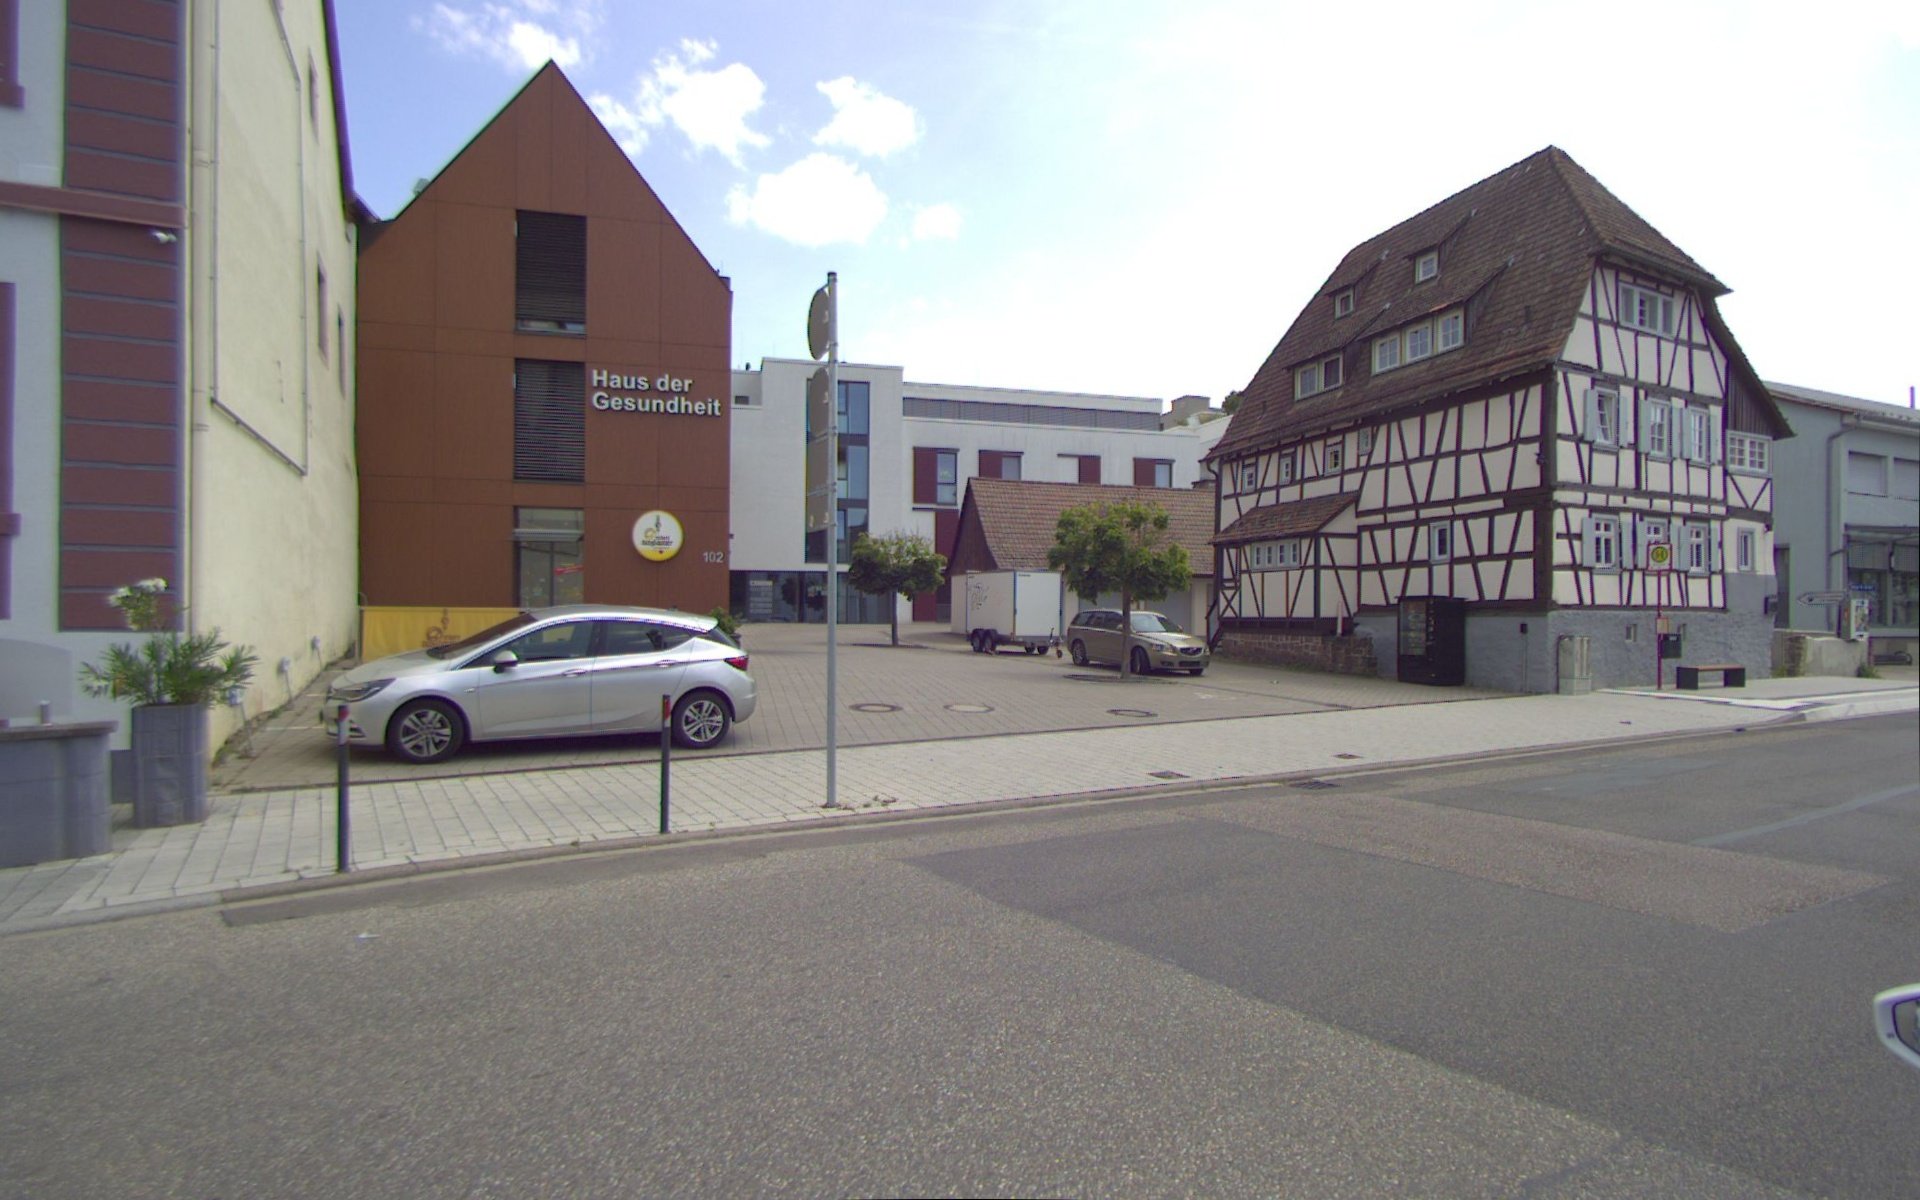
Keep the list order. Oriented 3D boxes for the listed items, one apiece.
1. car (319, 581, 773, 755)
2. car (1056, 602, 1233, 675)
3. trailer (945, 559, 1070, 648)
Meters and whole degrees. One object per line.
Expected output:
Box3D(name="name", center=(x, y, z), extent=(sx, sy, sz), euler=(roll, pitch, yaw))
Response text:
Box3D(name="car", center=(-4.356, 0.643, 10.905), extent=(4.222, 1.512, 1.751), euler=(1, 3, -28))
Box3D(name="car", center=(4.292, 0.848, 24.134), extent=(1.938, 1.407, 4.411), euler=(1, 2, -26))
Box3D(name="trailer", center=(1.340, 0.058, 30.482), extent=(1.937, 2.458, 4.413), euler=(2, 1, -24))
